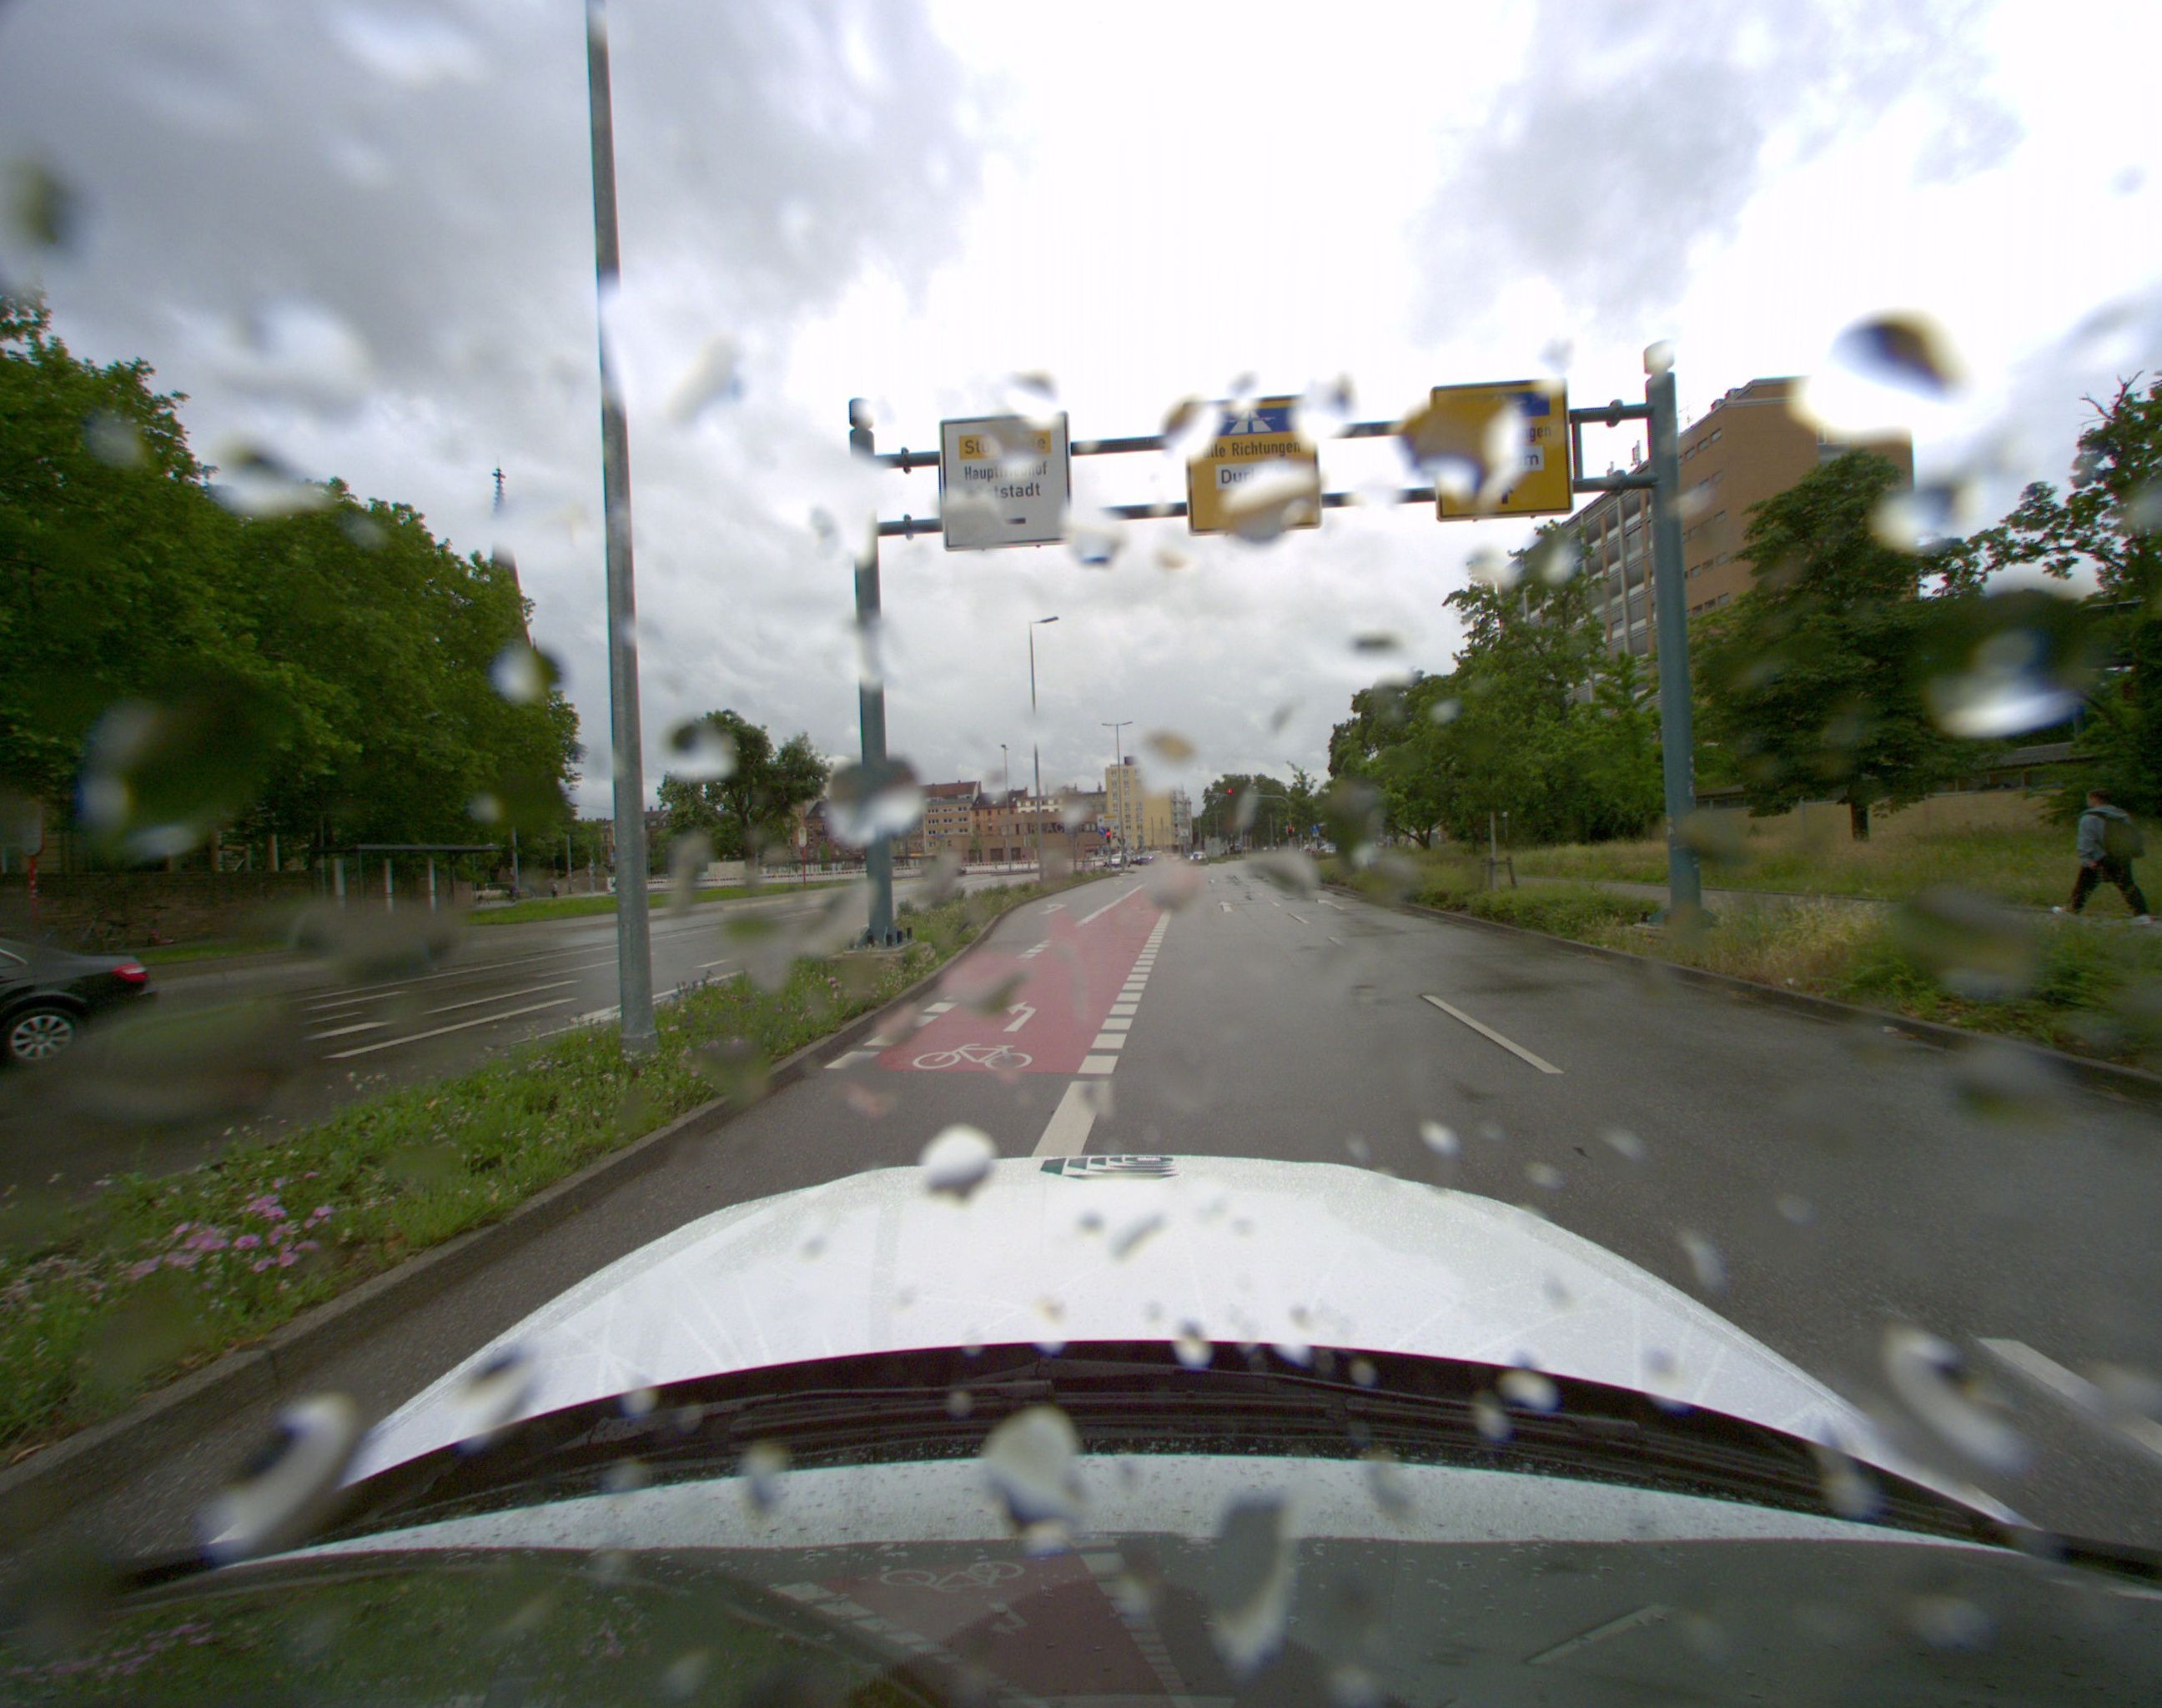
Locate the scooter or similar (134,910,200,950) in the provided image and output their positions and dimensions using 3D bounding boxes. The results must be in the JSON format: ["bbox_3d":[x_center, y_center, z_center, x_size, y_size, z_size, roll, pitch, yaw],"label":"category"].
[{"bbox_3d":[-27.861,2.305,24.856,0.572,1.046,1.358,-3,0,-9],"label":"scooter or similar"}]

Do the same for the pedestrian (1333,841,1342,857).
[{"bbox_3d":[25.777,-0.478,81.878,0.747,1.588,0.941,-3,0,20],"label":"pedestrian"}]

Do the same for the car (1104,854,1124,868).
[{"bbox_3d":[3.618,0.745,88.158,1.669,1.404,4.168,-4,0,8],"label":"car"}]

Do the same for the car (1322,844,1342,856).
[{"bbox_3d":[37.651,-0.669,122.170,1.772,1.643,4.186,-3,0,32],"label":"car"}]

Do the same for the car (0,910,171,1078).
[{"bbox_3d":[-11.612,1.495,7.050,1.799,1.540,4.712,-4,0,7],"label":"car"}]

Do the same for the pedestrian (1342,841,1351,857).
[{"bbox_3d":[26.513,-0.502,81.330,0.697,1.588,0.941,-3,0,20],"label":"pedestrian"}]

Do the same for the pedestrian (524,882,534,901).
[{"bbox_3d":[-56.190,3.775,82.893,0.602,1.890,0.603,-3,0,4],"label":"pedestrian"}]

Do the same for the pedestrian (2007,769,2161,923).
[{"bbox_3d":[12.563,-0.094,10.192,0.927,1.797,0.832,-3,0,13],"label":"pedestrian"}]

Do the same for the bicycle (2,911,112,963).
[{"bbox_3d":[-26.956,2.150,21.484,0.573,1.136,1.985,-3,0,-9],"label":"bicycle"}]

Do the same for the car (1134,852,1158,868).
[{"bbox_3d":[7.987,0.724,99.173,1.978,1.636,4.622,-5,0,15],"label":"car"}]

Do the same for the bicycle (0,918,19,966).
[{"bbox_3d":[-26.582,2.173,19.244,0.573,1.136,1.985,-3,0,-9],"label":"bicycle"}]

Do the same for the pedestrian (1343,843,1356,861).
[{"bbox_3d":[25.032,-0.209,75.989,1.014,1.588,0.941,-3,0,20],"label":"pedestrian"}]

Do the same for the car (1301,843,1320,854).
[{"bbox_3d":[36.923,-0.885,130.846,1.772,1.643,4.186,-3,0,32],"label":"car"}]

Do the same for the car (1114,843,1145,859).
[{"bbox_3d":[11.407,-0.611,190.564,6.695,3.380,2.819,-3,0,12],"label":"car"}]

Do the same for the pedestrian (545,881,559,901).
[{"bbox_3d":[-49.088,3.444,75.549,0.719,1.777,0.776,-3,0,10],"label":"pedestrian"}]

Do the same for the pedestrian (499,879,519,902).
[{"bbox_3d":[-51.001,3.248,72.604,0.997,2.013,1.301,-3,0,-17],"label":"pedestrian"}]

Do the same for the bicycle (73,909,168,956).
[{"bbox_3d":[-27.583,2.236,23.439,0.573,1.136,1.985,-3,0,-9],"label":"bicycle"}]

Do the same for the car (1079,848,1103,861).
[{"bbox_3d":[2.358,0.129,192.760,5.314,2.887,2.347,-3,0,12],"label":"car"}]

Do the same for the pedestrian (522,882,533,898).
[{"bbox_3d":[-54.664,3.574,80.411,0.679,1.500,0.765,-2,0,-43],"label":"pedestrian"}]

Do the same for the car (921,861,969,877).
[{"bbox_3d":[-13.021,1.433,78.099,4.173,1.402,1.619,-3,0,3],"label":"car"}]

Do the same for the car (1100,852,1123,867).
[{"bbox_3d":[3.756,0.663,99.598,1.691,1.706,3.840,-3,0,20],"label":"car"}]

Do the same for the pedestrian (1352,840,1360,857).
[{"bbox_3d":[27.345,-0.547,80.956,0.697,1.588,0.941,-3,0,20],"label":"pedestrian"}]
